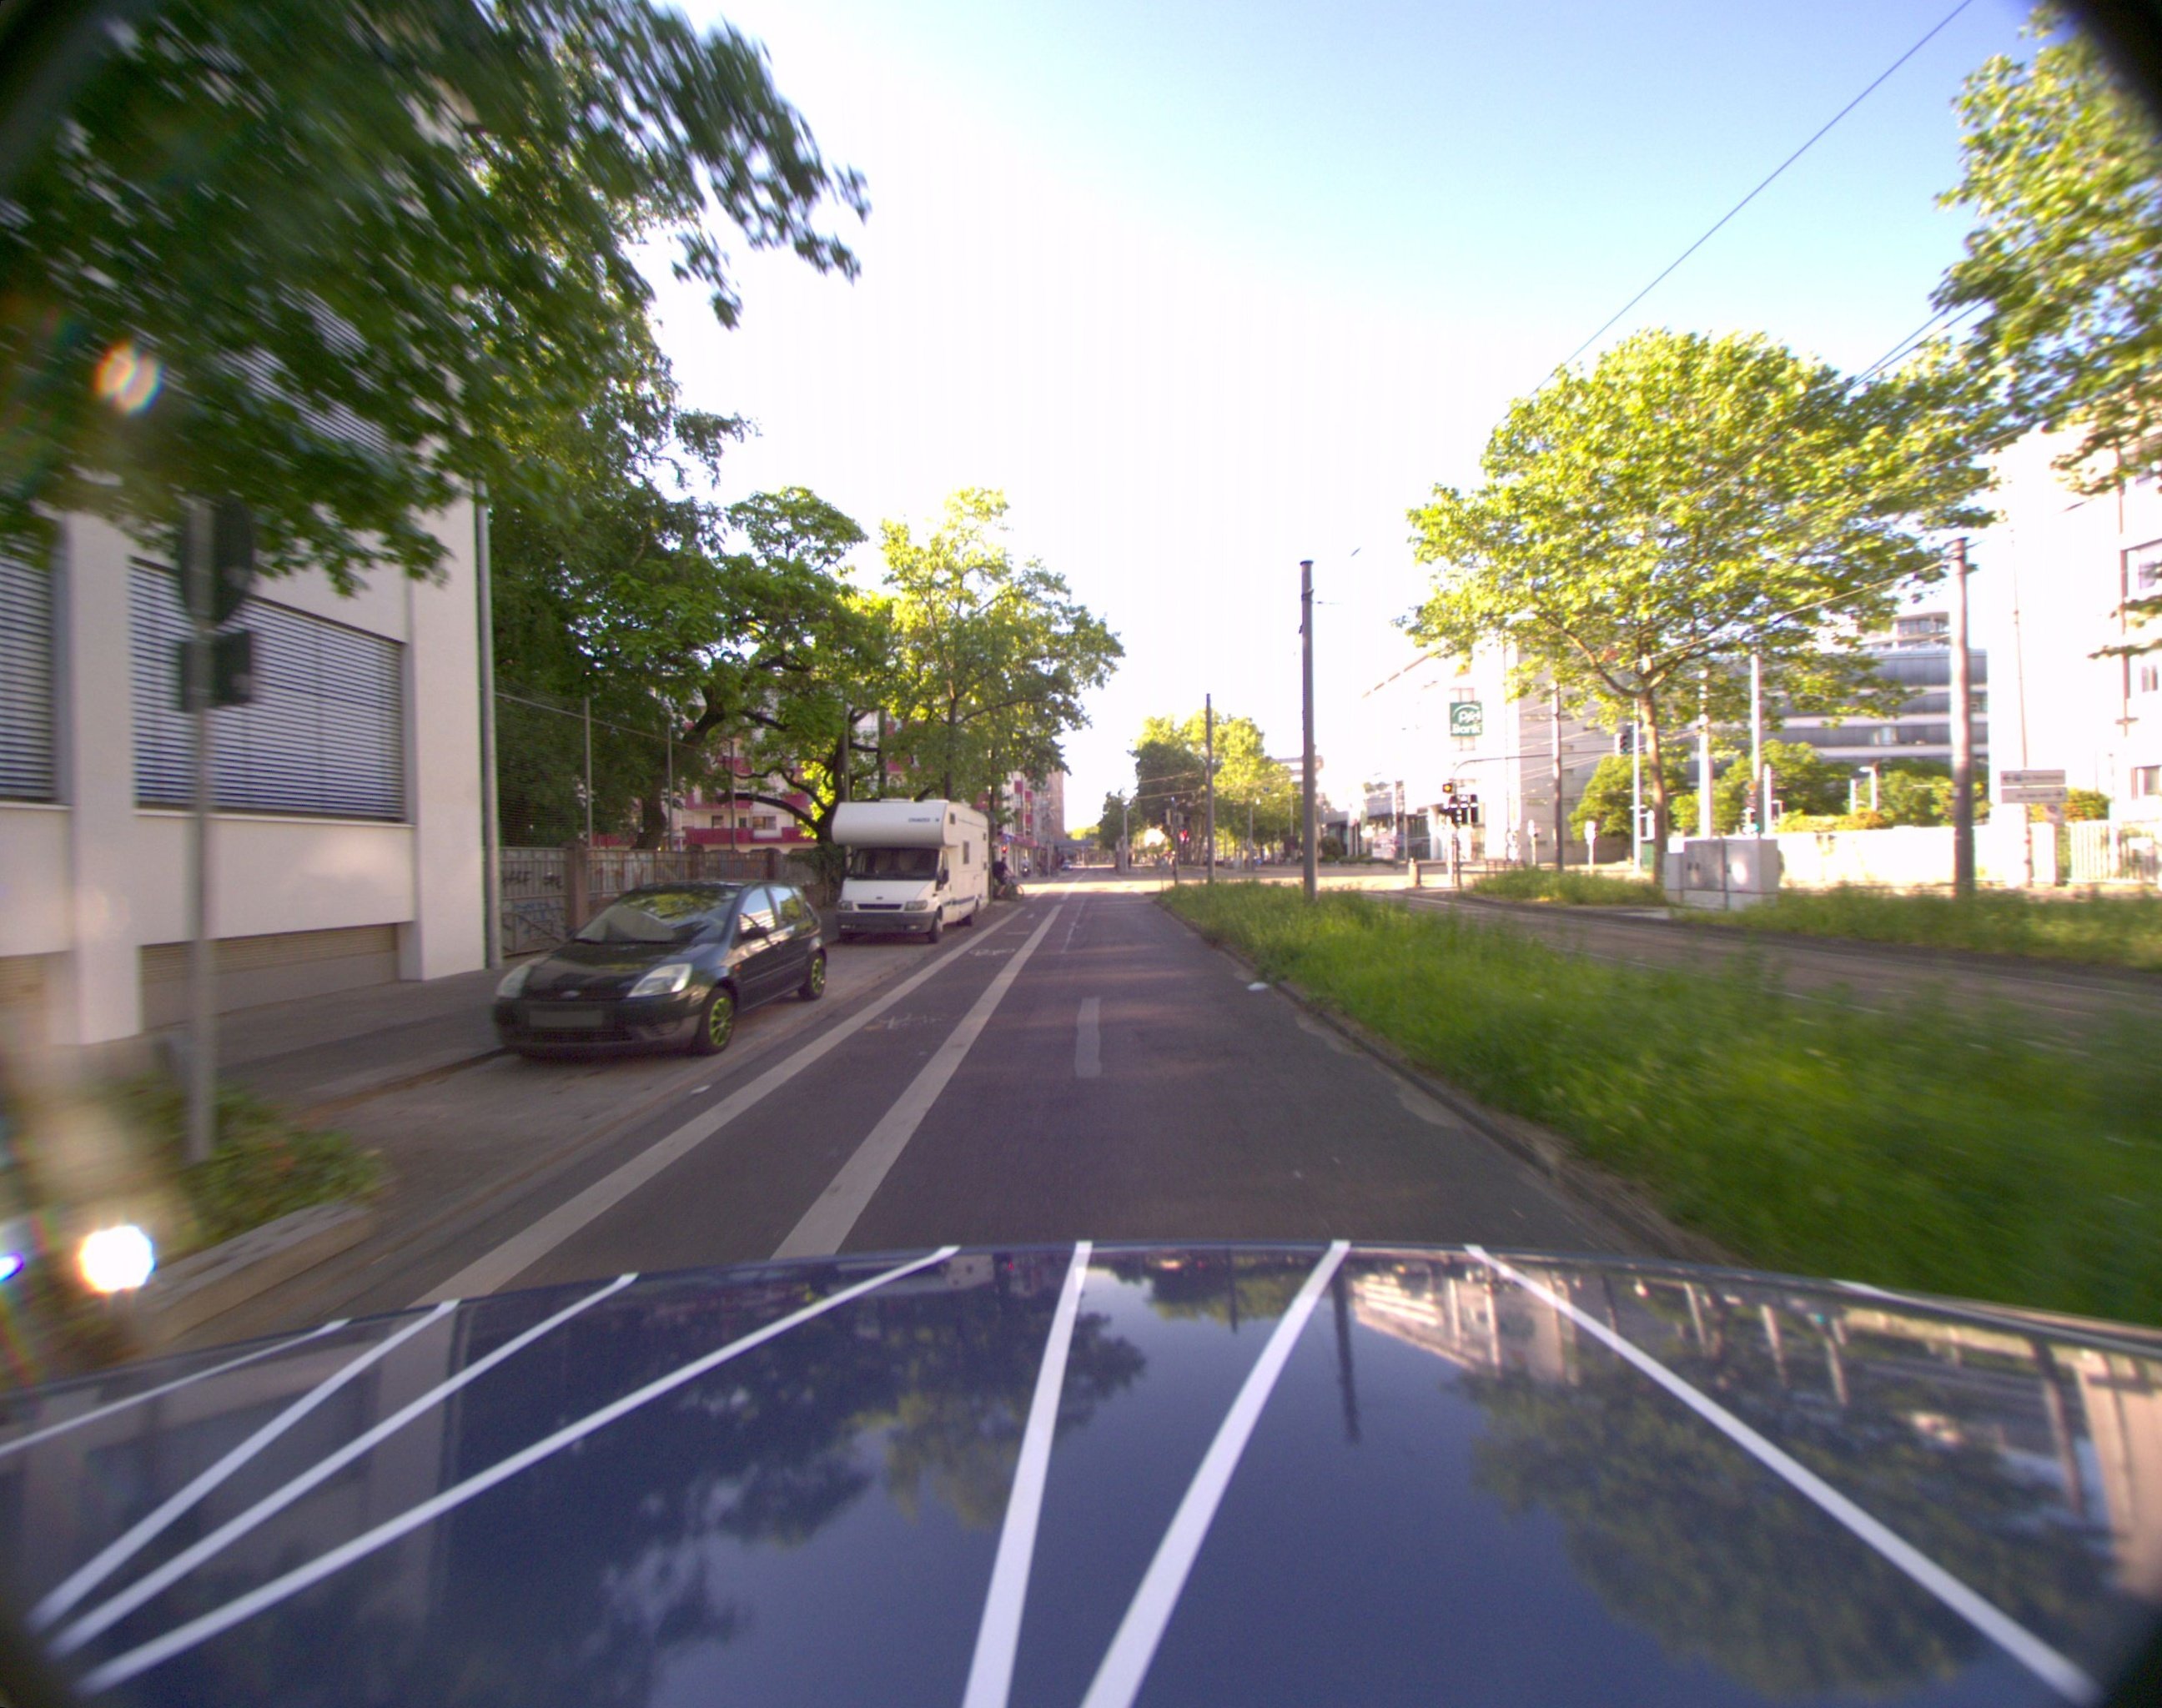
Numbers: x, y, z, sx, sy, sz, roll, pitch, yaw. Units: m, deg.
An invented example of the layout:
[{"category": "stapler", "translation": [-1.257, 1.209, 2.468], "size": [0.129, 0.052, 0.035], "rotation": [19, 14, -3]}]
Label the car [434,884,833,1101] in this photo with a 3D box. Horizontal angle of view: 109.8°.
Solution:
[{"category": "car", "translation": [-3.882, 1.087, 7.440], "size": [1.656, 1.439, 3.801], "rotation": [0, 0, 0]}]

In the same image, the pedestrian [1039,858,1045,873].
[{"category": "pedestrian", "translation": [-4.663, 1.406, 92.017], "size": [0.621, 1.771, 0.686], "rotation": [-2, 1, 1]}]

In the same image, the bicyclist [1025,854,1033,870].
[{"category": "bicyclist", "translation": [-4.440, 0.650, 65.039], "size": [0.550, 1.332, 0.616], "rotation": [-2, 1, 1]}]

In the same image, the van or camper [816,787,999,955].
[{"category": "van or camper", "translation": [-3.596, 0.330, 17.637], "size": [2.172, 3.074, 7.292], "rotation": [0, 0, 3]}]

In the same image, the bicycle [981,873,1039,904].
[{"category": "bicycle", "translation": [-2.788, 1.334, 29.934], "size": [2.087, 1.122, 0.758], "rotation": [-2, 1, -29]}]

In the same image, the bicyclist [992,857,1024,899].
[{"category": "bicyclist", "translation": [-2.879, 0.928, 29.900], "size": [1.009, 1.567, 0.758], "rotation": [-2, 1, -29]}]

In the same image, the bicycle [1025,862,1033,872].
[{"category": "bicycle", "translation": [-4.428, 1.103, 64.911], "size": [0.566, 0.872, 1.718], "rotation": [-2, 0, 1]}]
